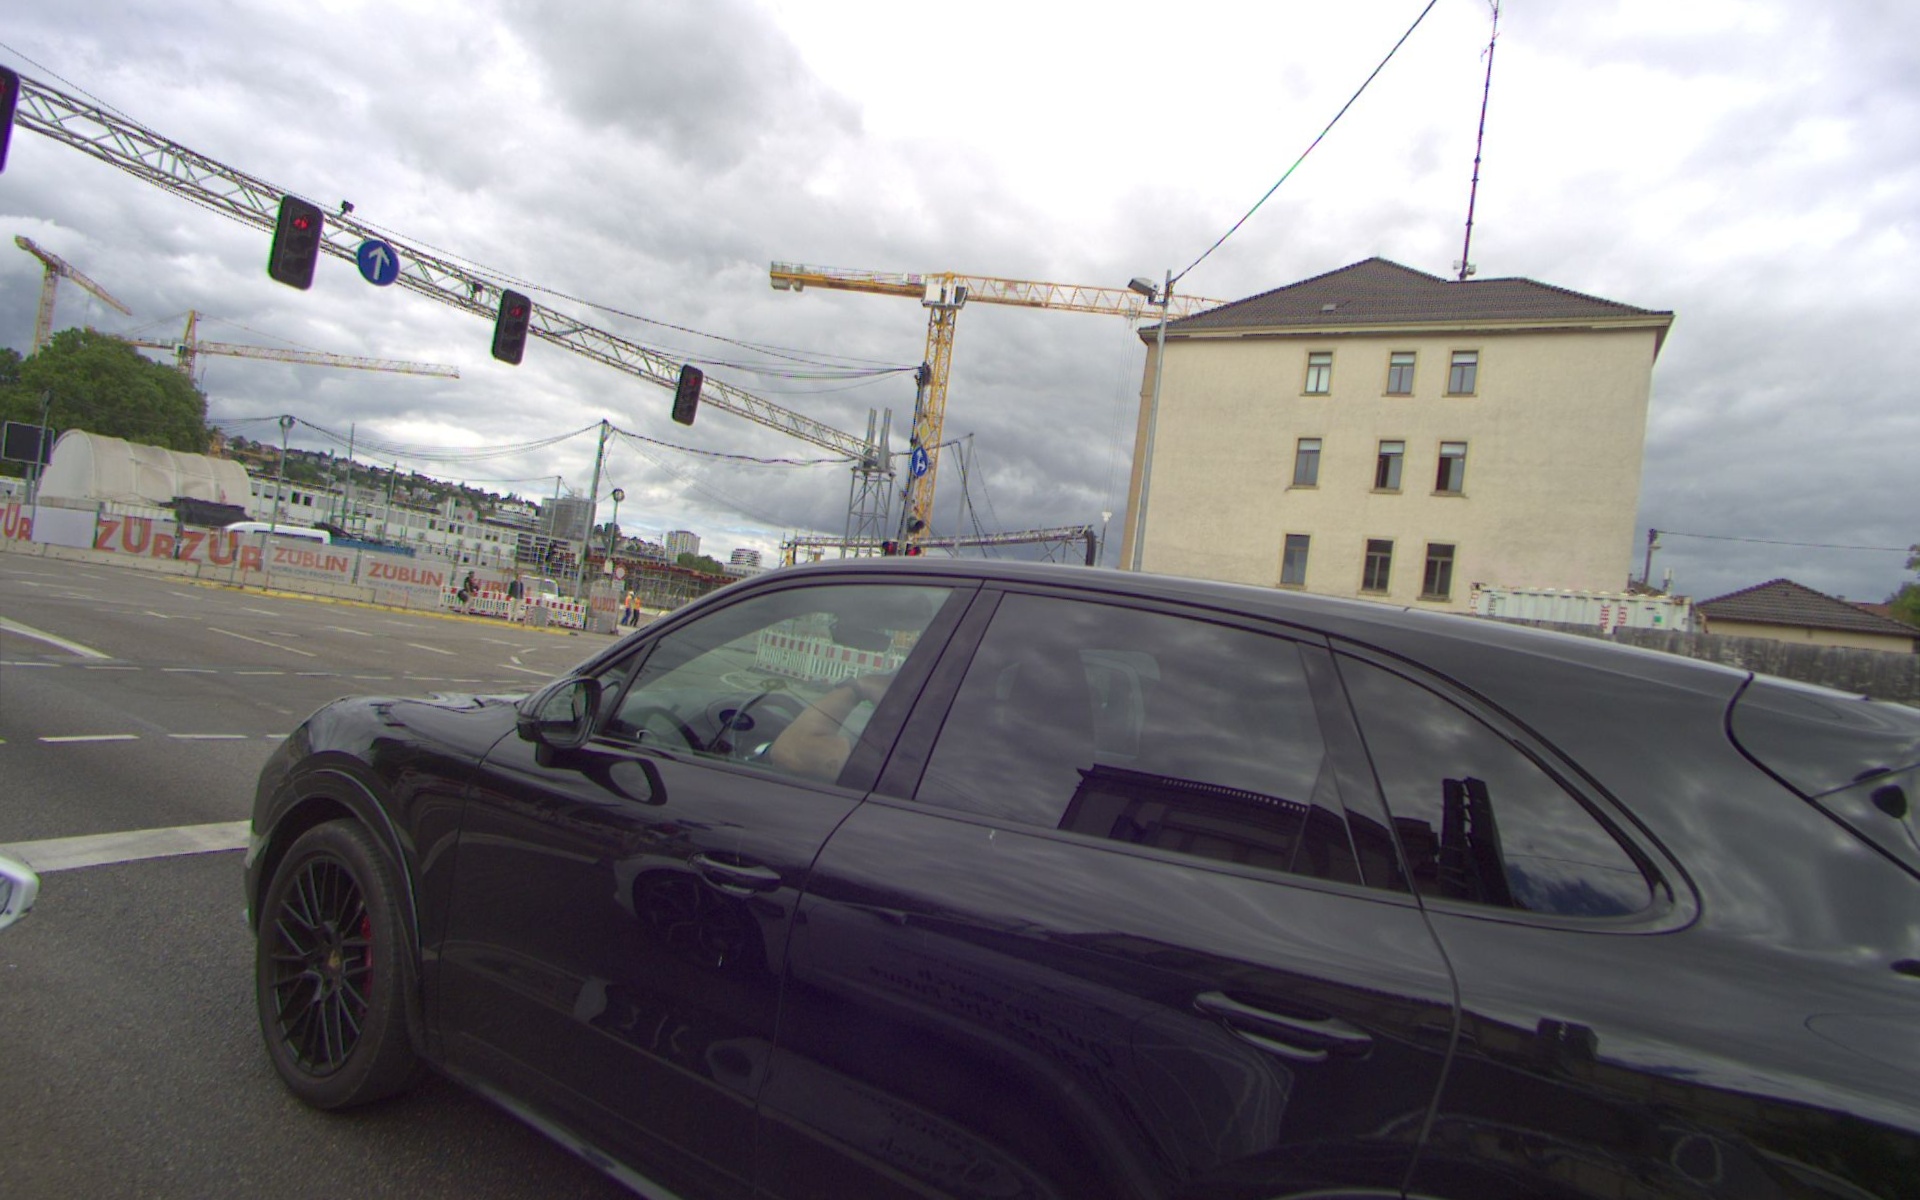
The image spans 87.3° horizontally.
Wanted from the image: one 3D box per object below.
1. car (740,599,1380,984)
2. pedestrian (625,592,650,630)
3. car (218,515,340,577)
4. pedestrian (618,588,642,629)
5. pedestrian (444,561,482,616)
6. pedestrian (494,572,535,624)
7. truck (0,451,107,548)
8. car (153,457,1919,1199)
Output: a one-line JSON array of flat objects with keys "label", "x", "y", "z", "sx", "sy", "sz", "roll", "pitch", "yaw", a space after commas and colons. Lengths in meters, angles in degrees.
[{"label": "car", "x": 0.582, "y": 1.004, "z": 6.554, "sx": 3.587, "sy": 1.527, "sz": 1.825, "roll": 6, "pitch": -2, "yaw": 33}, {"label": "pedestrian", "x": -17.524, "y": 0.591, "z": 54.640, "sx": 0.850, "sy": 1.938, "sz": 0.680, "roll": 7, "pitch": -1, "yaw": 26}, {"label": "car", "x": -29.523, "y": -2.330, "z": 43.643, "sx": 3.976, "sy": 2.037, "sz": 1.976, "roll": 9, "pitch": -2, "yaw": -43}, {"label": "pedestrian", "x": -17.640, "y": 0.444, "z": 53.826, "sx": 0.855, "sy": 2.037, "sz": 0.677, "roll": 6, "pitch": -1, "yaw": 44}, {"label": "pedestrian", "x": -19.933, "y": -0.445, "z": 40.391, "sx": 1.020, "sy": 2.037, "sz": 1.042, "roll": 8, "pitch": -1, "yaw": -20}, {"label": "pedestrian", "x": -17.377, "y": -0.075, "z": 39.236, "sx": 1.040, "sy": 1.869, "sz": 0.781, "roll": 8, "pitch": -1, "yaw": -42}, {"label": "truck", "x": -57.715, "y": -6.353, "z": 60.221, "sx": 3.054, "sy": 5.017, "sz": 9.759, "roll": 7, "pitch": -2, "yaw": 14}, {"label": "car", "x": 0.001, "y": 0.695, "z": 2.717, "sx": 4.505, "sy": 1.687, "sz": 1.997, "roll": 6, "pitch": -2, "yaw": 34}]
